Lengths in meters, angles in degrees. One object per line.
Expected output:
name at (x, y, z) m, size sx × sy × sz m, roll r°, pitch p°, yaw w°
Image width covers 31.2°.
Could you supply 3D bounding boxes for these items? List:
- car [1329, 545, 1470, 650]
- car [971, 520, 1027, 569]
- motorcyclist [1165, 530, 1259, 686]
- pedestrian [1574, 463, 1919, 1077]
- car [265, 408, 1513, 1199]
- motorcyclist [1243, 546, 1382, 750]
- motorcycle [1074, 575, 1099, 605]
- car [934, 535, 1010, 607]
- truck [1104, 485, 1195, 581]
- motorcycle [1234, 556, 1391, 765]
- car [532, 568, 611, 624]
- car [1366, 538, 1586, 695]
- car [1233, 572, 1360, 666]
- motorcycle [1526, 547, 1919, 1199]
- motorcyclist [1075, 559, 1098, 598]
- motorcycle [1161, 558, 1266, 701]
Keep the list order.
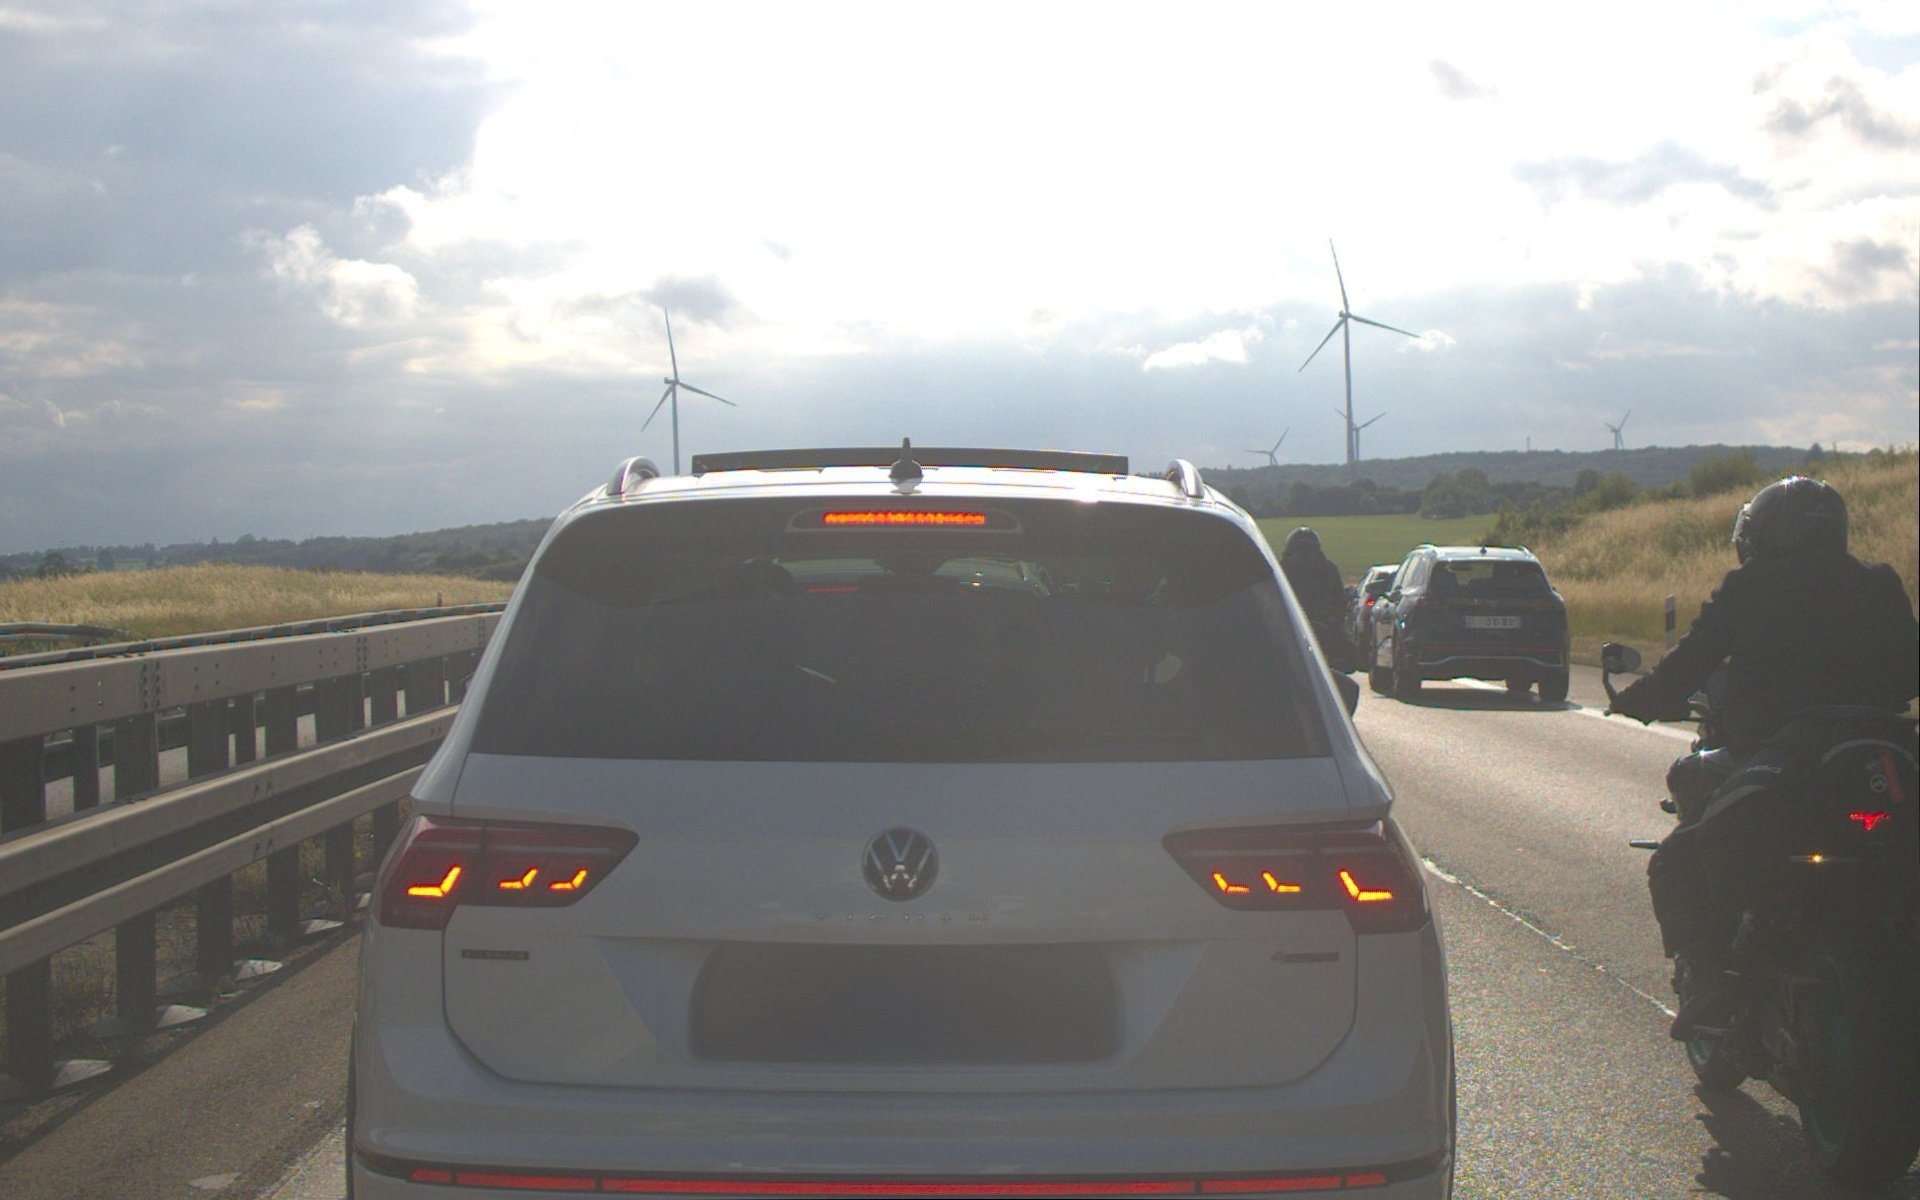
car at (6.084, -0.051, 47.883) m, size 1.606 × 1.415 × 3.672 m, roll 0°, pitch 0°, yaw 2°
car at (1.223, -1.768, 110.080) m, size 1.704 × 1.540 × 4.000 m, roll 0°, pitch 0°, yaw -1°
motorcyclist at (2.640, 0.077, 36.074) m, size 0.895 × 1.611 × 1.022 m, roll 0°, pitch 0°, yaw -1°
pedestrian at (2.083, 0.397, 8.622) m, size 0.895 × 1.450 × 0.984 m, roll 0°, pitch 0°, yaw -1°
car at (-0.119, 0.545, 6.880) m, size 1.770 × 1.670 × 4.000 m, roll 0°, pitch 0°, yaw -1°
motorcyclist at (2.539, 0.339, 24.869) m, size 0.895 × 1.450 × 0.892 m, roll 0°, pitch 0°, yaw -1°
motorcycle at (5.068, -0.411, 137.575) m, size 0.895 × 1.186 × 2.257 m, roll 0°, pitch 0°, yaw -1°
car at (0.259, -0.677, 80.119) m, size 1.704 × 1.644 × 4.000 m, roll 0°, pitch 0°, yaw -1°
truck at (7.263, -2.594, 133.088) m, size 3.184 × 3.581 × 11.130 m, roll 0°, pitch 1°, yaw 1°
motorcycle at (2.535, 0.413, 24.954) m, size 0.895 × 1.450 × 1.982 m, roll 0°, pitch 0°, yaw -1°
car at (-10.597, -0.126, 93.908) m, size 1.732 × 1.480 × 4.000 m, roll 0°, pitch 0°, yaw -1°
car at (5.633, 0.155, 37.992) m, size 1.821 × 1.596 × 4.235 m, roll 2°, pitch 0°, yaw 1°
car at (5.653, 0.295, 58.143) m, size 1.704 × 1.540 × 4.000 m, roll 0°, pitch 0°, yaw -1°
motorcycle at (2.089, 0.598, 8.710) m, size 0.895 × 1.450 × 2.269 m, roll 0°, pitch 0°, yaw -1°
motorcyclist at (5.061, -0.877, 137.526) m, size 0.849 × 1.554 × 0.934 m, roll 0°, pitch 0°, yaw -1°
motorcycle at (2.645, 0.289, 36.093) m, size 0.895 × 1.450 × 2.269 m, roll 0°, pitch 0°, yaw -1°
